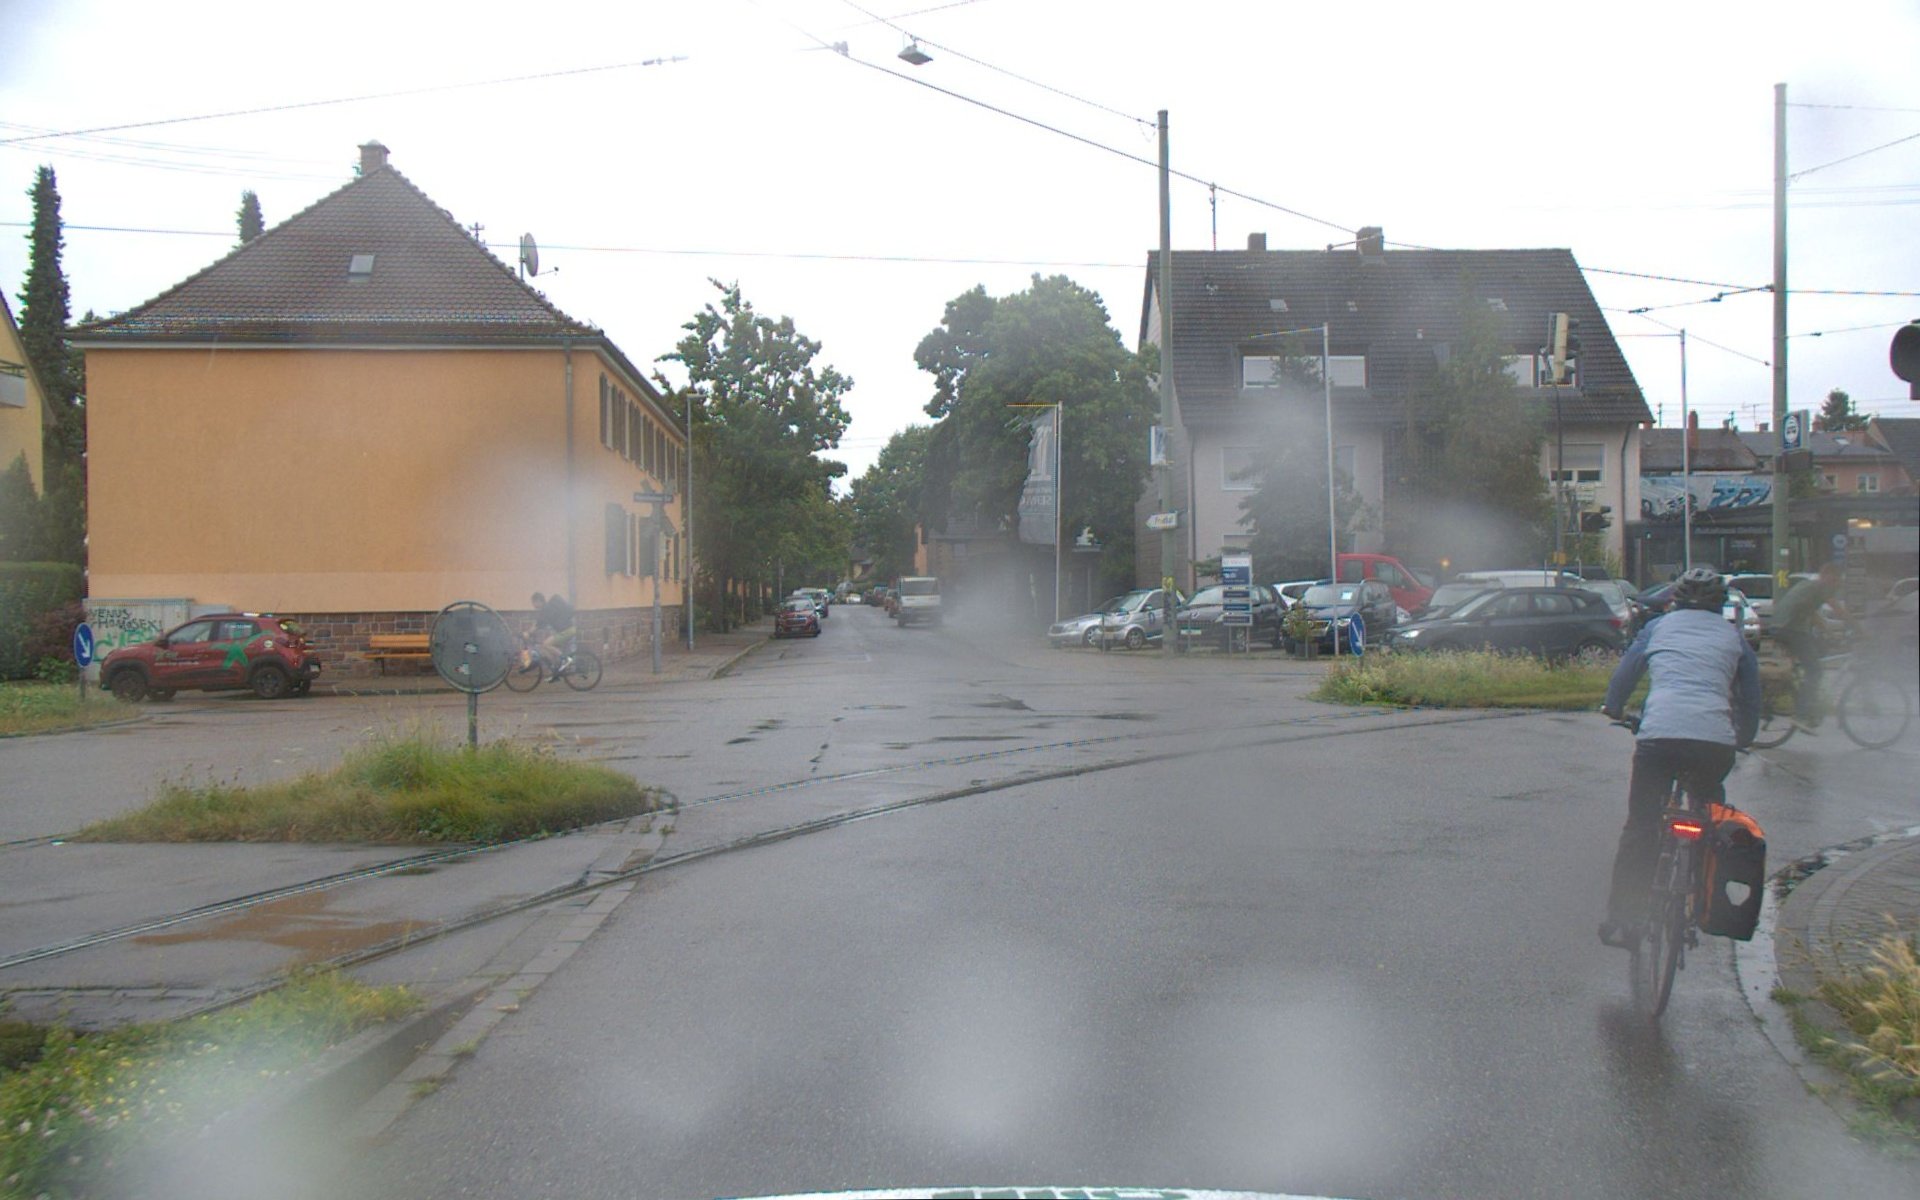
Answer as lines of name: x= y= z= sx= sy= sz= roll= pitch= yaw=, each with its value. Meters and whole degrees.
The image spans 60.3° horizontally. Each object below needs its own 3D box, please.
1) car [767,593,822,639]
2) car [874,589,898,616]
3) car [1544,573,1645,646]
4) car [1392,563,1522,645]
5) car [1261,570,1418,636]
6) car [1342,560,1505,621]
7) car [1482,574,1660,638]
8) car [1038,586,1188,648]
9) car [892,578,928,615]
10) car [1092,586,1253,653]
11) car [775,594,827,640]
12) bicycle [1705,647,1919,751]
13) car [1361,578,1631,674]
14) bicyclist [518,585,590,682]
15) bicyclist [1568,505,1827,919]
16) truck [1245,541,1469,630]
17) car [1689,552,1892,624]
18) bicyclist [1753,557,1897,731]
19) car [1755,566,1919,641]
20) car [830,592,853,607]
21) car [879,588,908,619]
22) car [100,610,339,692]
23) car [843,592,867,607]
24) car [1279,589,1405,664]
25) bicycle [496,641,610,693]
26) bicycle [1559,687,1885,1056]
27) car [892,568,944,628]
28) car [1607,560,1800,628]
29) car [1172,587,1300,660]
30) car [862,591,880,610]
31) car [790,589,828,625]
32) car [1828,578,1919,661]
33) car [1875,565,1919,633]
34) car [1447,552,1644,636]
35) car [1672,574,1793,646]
car: x=-6.221 y=0.610 z=62.535 sx=1.954 sy=1.646 sz=3.996 roll=-1 pitch=0 yaw=-4
car: x=-5.858 y=0.208 z=130.727 sx=1.792 sy=2.049 sz=3.996 roll=1 pitch=0 yaw=-4
car: x=14.462 y=0.216 z=37.582 sx=1.792 sy=1.530 sz=4.054 roll=1 pitch=0 yaw=26
car: x=11.440 y=0.078 z=37.888 sx=1.956 sy=1.747 sz=3.992 roll=-1 pitch=0 yaw=30
car: x=10.089 y=0.107 z=43.857 sx=3.882 sy=1.626 sz=2.001 roll=-1 pitch=-1 yaw=18
car: x=13.925 y=-0.279 z=49.838 sx=4.342 sy=1.717 sz=2.000 roll=-1 pitch=-1 yaw=0
car: x=17.478 y=0.181 z=47.453 sx=4.342 sy=1.717 sz=2.000 roll=-1 pitch=-1 yaw=0
car: x=4.301 y=0.460 z=46.463 sx=3.805 sy=1.606 sz=1.796 roll=-2 pitch=0 yaw=-22
car: x=-2.826 y=-0.197 z=93.140 sx=1.953 sy=2.049 sz=3.998 roll=1 pitch=0 yaw=-2
car: x=5.565 y=0.491 z=43.385 sx=3.805 sy=1.606 sz=1.796 roll=-2 pitch=0 yaw=-22
car: x=-6.451 y=0.688 z=67.439 sx=1.954 sy=1.780 sz=3.996 roll=-1 pitch=0 yaw=-4
bicycle: x=8.167 y=0.917 z=15.593 sx=1.940 sy=0.928 sz=0.823 roll=0 pitch=-1 yaw=-5
car: x=9.079 y=0.421 z=28.221 sx=3.908 sy=1.502 sz=1.999 roll=-1 pitch=0 yaw=-4
bicyclist: x=-7.075 y=0.573 z=28.875 sx=1.018 sy=1.626 sz=0.949 roll=-2 pitch=0 yaw=-4
bicyclist: x=2.870 y=0.416 z=6.523 sx=0.735 sy=1.511 sz=0.847 roll=-2 pitch=0 yaw=13
truck: x=11.168 y=-0.372 z=46.508 sx=5.955 sy=2.312 sz=2.001 roll=-1 pitch=-1 yaw=18
car: x=21.352 y=-0.292 z=42.633 sx=4.342 sy=1.717 sz=1.760 roll=-1 pitch=-1 yaw=0
bicyclist: x=8.129 y=0.408 z=15.581 sx=0.893 sy=1.585 sz=0.833 roll=0 pitch=-1 yaw=-5
car: x=20.318 y=0.076 z=38.448 sx=1.765 sy=1.606 sz=3.871 roll=-2 pitch=0 yaw=0
car: x=-14.386 y=-0.089 z=200.809 sx=1.800 sy=1.727 sz=4.010 roll=1 pitch=0 yaw=-18
car: x=-4.532 y=0.214 z=113.062 sx=1.792 sy=2.049 sz=3.996 roll=1 pitch=0 yaw=-4
car: x=-13.318 y=0.905 z=29.911 sx=3.534 sy=1.362 sz=1.721 roll=1 pitch=0 yaw=-5
car: x=-12.445 y=-0.039 z=195.456 sx=1.800 sy=1.727 sz=4.010 roll=1 pitch=0 yaw=-18
car: x=8.947 y=0.595 z=38.524 sx=1.768 sy=1.606 sz=3.864 roll=-2 pitch=0 yaw=30
bicycle: x=-7.085 y=1.162 z=28.876 sx=1.778 sy=0.800 sz=0.942 roll=-2 pitch=0 yaw=-4
bicycle: x=2.868 y=0.952 z=6.441 sx=0.736 sy=1.091 sz=1.928 roll=-2 pitch=0 yaw=13
car: x=-1.921 y=-0.088 z=75.276 sx=2.111 sy=2.617 sz=4.130 roll=1 pitch=0 yaw=-5
car: x=20.210 y=-0.151 z=45.097 sx=4.342 sy=1.717 sz=2.000 roll=-1 pitch=-1 yaw=0
car: x=6.649 y=0.545 z=39.574 sx=1.768 sy=1.606 sz=3.864 roll=-2 pitch=0 yaw=30
car: x=-9.538 y=0.053 z=177.290 sx=1.792 sy=2.049 sz=3.996 roll=1 pitch=0 yaw=-4
car: x=-8.827 y=0.411 z=96.884 sx=1.953 sy=2.049 sz=3.998 roll=1 pitch=0 yaw=-2
car: x=18.878 y=0.384 z=31.721 sx=3.558 sy=1.530 sz=1.722 roll=1 pitch=0 yaw=-1
car: x=23.373 y=-0.011 z=38.985 sx=1.682 sy=1.600 sz=3.618 roll=1 pitch=0 yaw=1
car: x=15.101 y=-0.135 z=42.833 sx=4.342 sy=2.049 sz=2.000 roll=-1 pitch=-1 yaw=0
car: x=17.629 y=0.213 z=37.929 sx=1.789 sy=1.530 sz=4.061 roll=1 pitch=0 yaw=15
